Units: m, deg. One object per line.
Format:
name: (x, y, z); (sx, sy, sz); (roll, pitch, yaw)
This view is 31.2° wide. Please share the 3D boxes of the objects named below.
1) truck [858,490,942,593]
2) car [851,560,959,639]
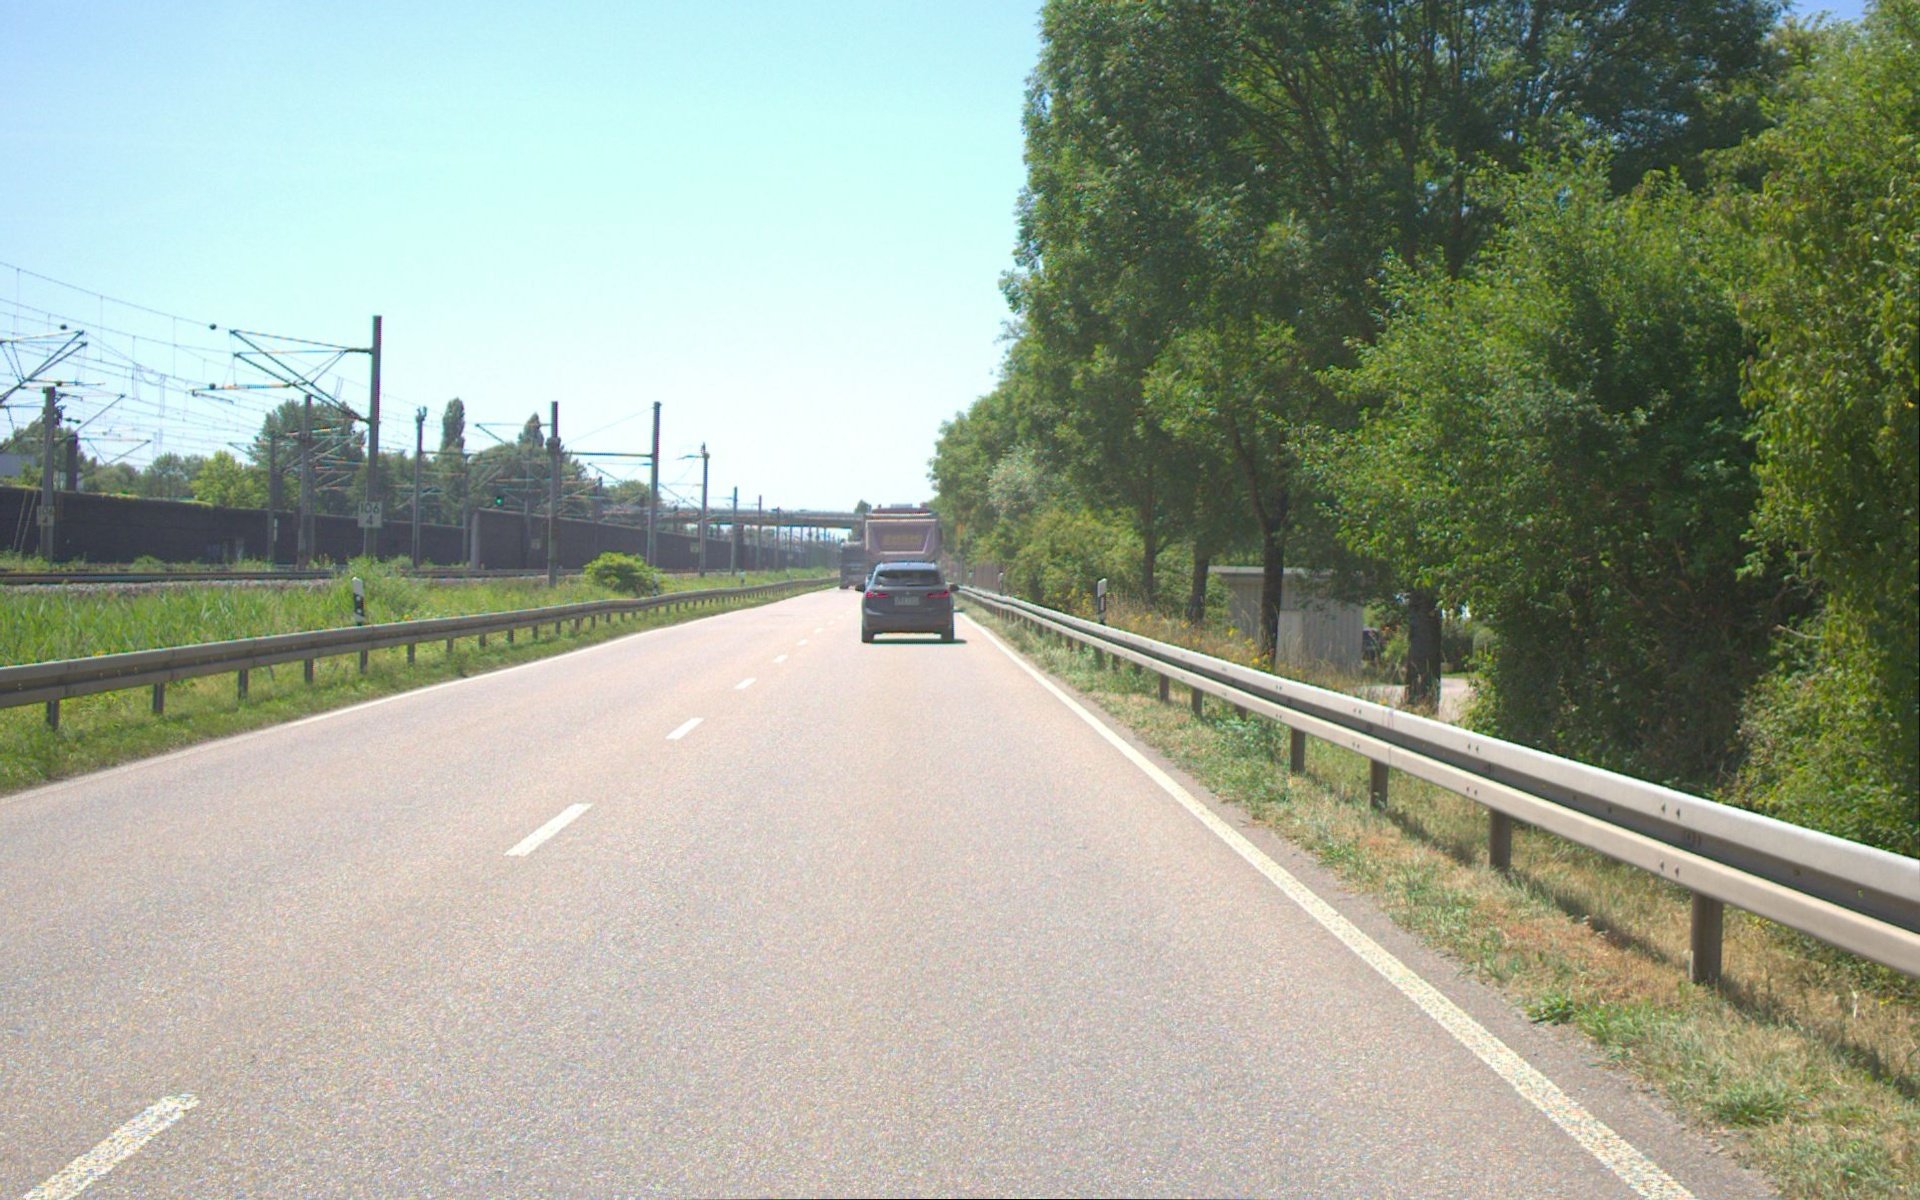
truck: (-2.069, -1.977, 119.307); (2.770, 3.414, 10.820); (0, 0, -1)
car: (-1.117, -0.035, 67.940); (1.993, 1.503, 4.001); (0, 1, -3)
